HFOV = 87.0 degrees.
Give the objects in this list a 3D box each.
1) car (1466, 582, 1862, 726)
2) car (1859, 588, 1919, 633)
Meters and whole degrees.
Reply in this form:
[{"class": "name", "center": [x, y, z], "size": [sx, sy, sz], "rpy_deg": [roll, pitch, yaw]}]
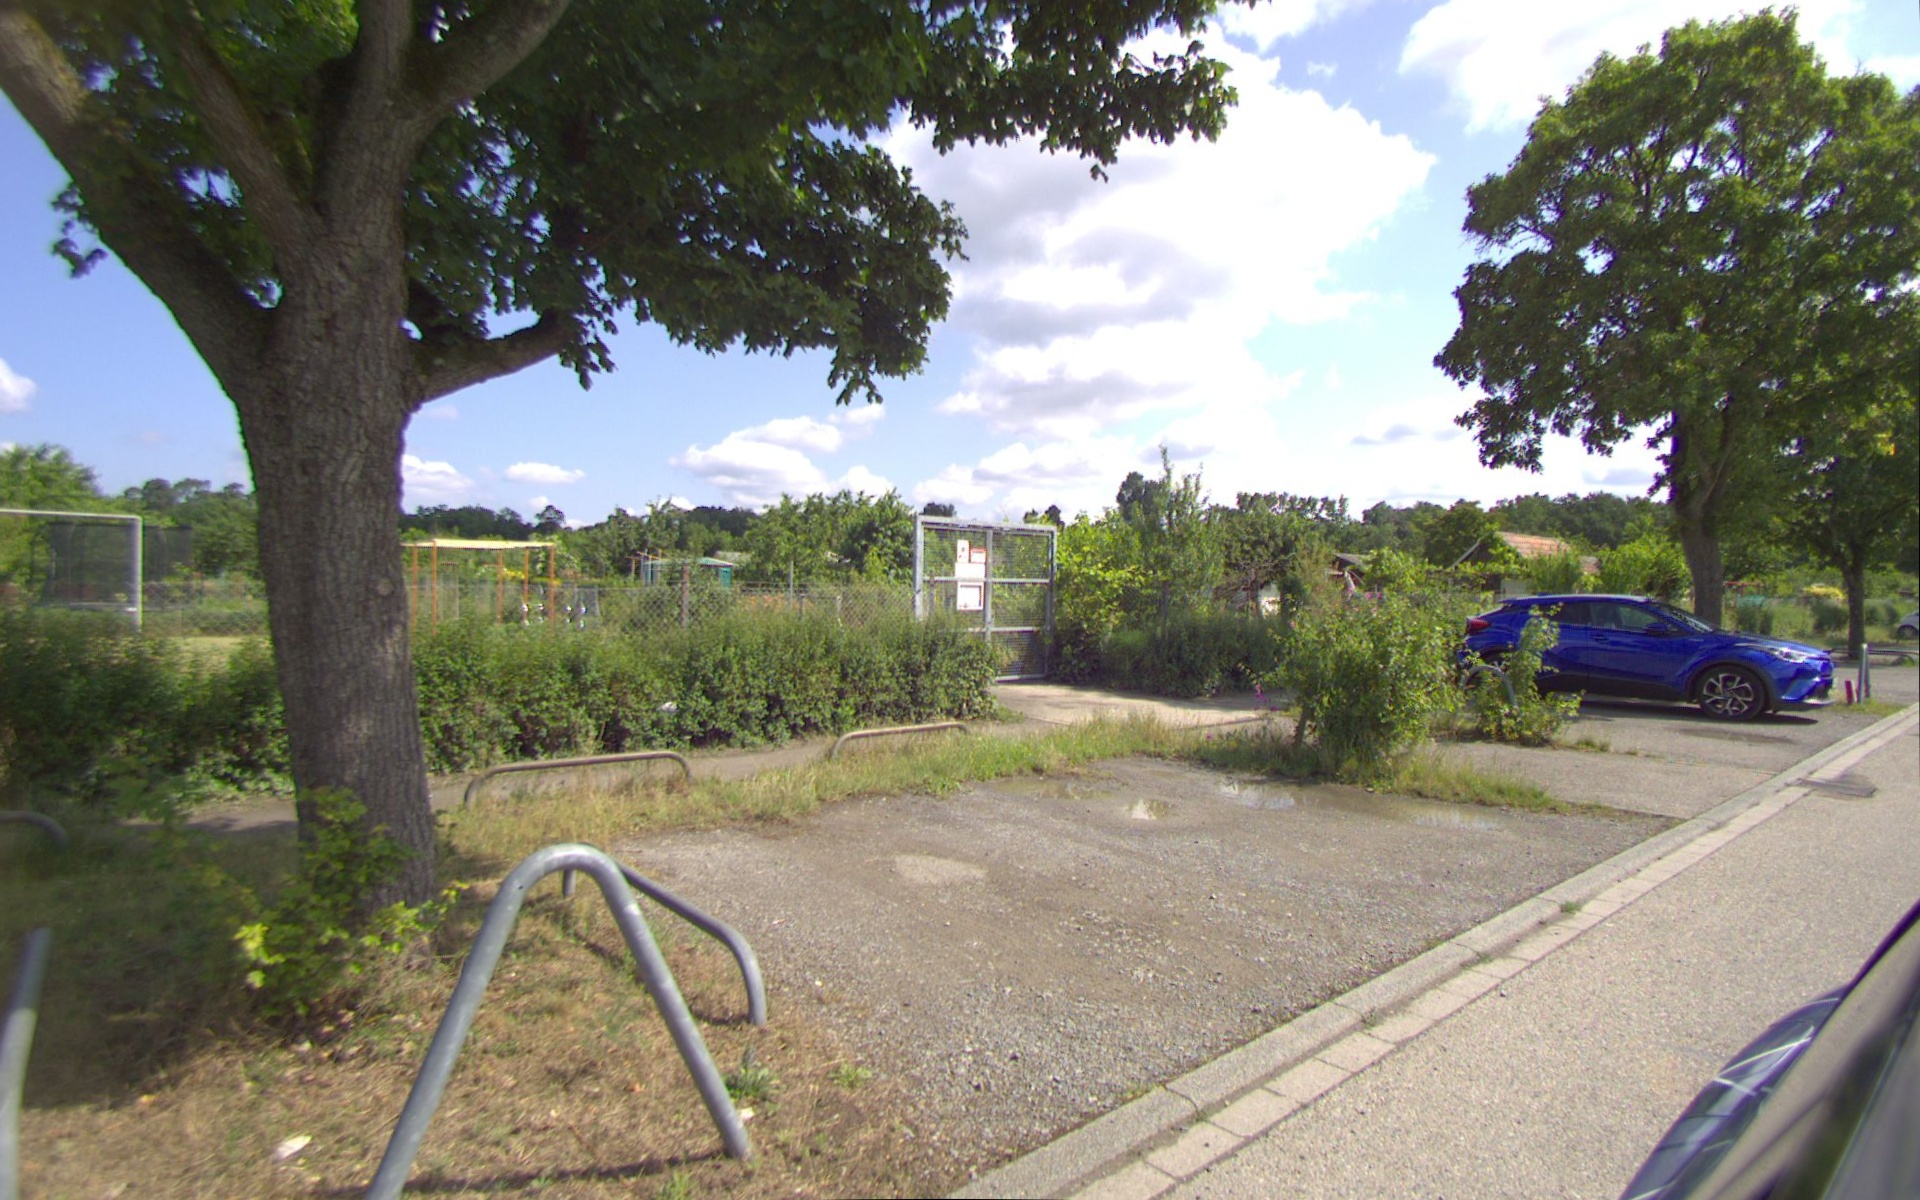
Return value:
[{"class": "car", "center": [9.351, 0.594, 13.709], "size": [1.750, 1.602, 4.112], "rpy_deg": [0, 1, -42]}, {"class": "car", "center": [38.423, 0.399, 40.151], "size": [1.965, 1.772, 3.926], "rpy_deg": [-1, 0, -40]}]
